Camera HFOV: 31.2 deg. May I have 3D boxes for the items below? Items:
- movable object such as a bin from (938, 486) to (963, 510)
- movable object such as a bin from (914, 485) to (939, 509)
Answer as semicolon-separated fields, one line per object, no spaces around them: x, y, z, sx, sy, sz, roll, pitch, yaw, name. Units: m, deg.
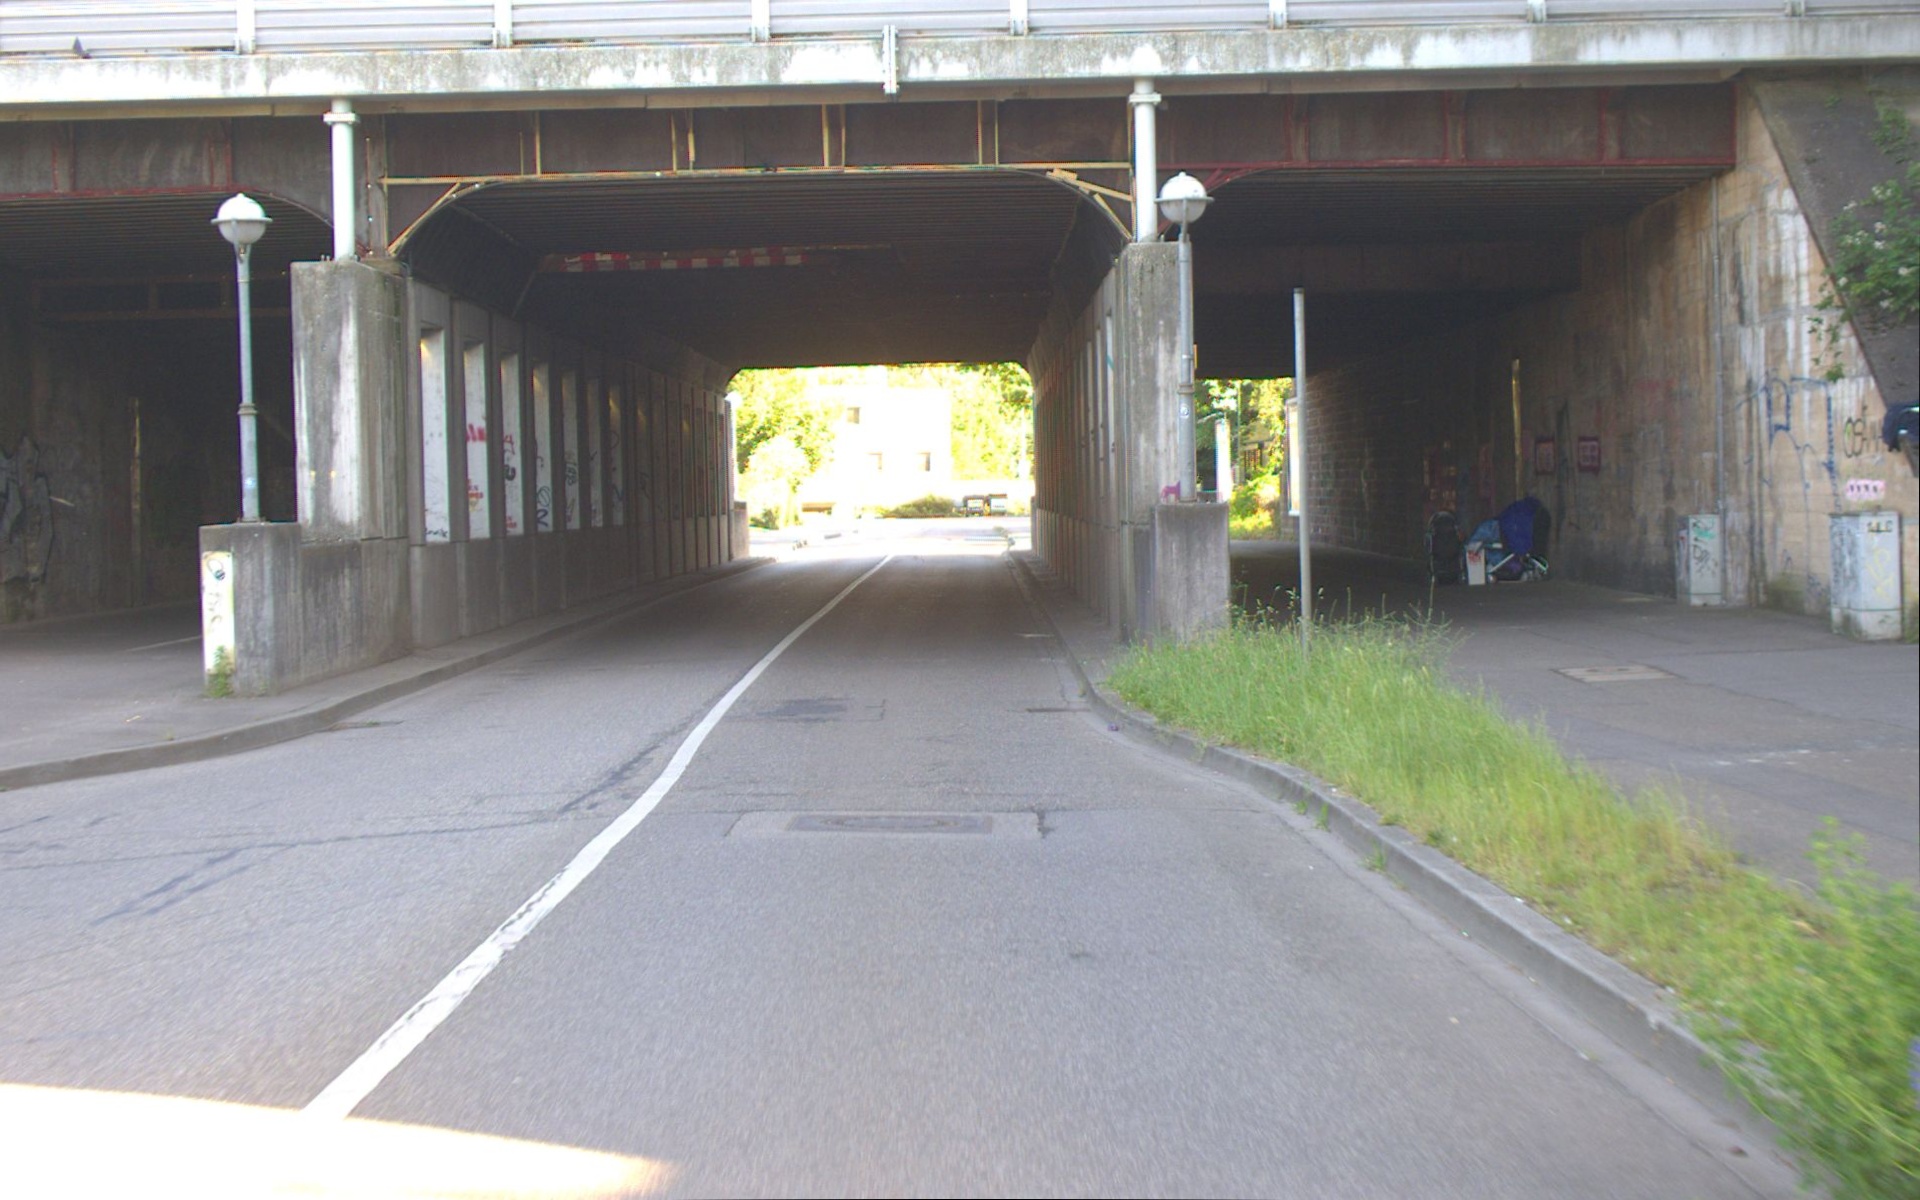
-0.561;-6.120;205.893;1.364;1.413;1.066;1;1;-7;movable object such as a bin
-1.987;-6.138;205.684;1.364;1.413;1.066;1;1;-7;movable object such as a bin
